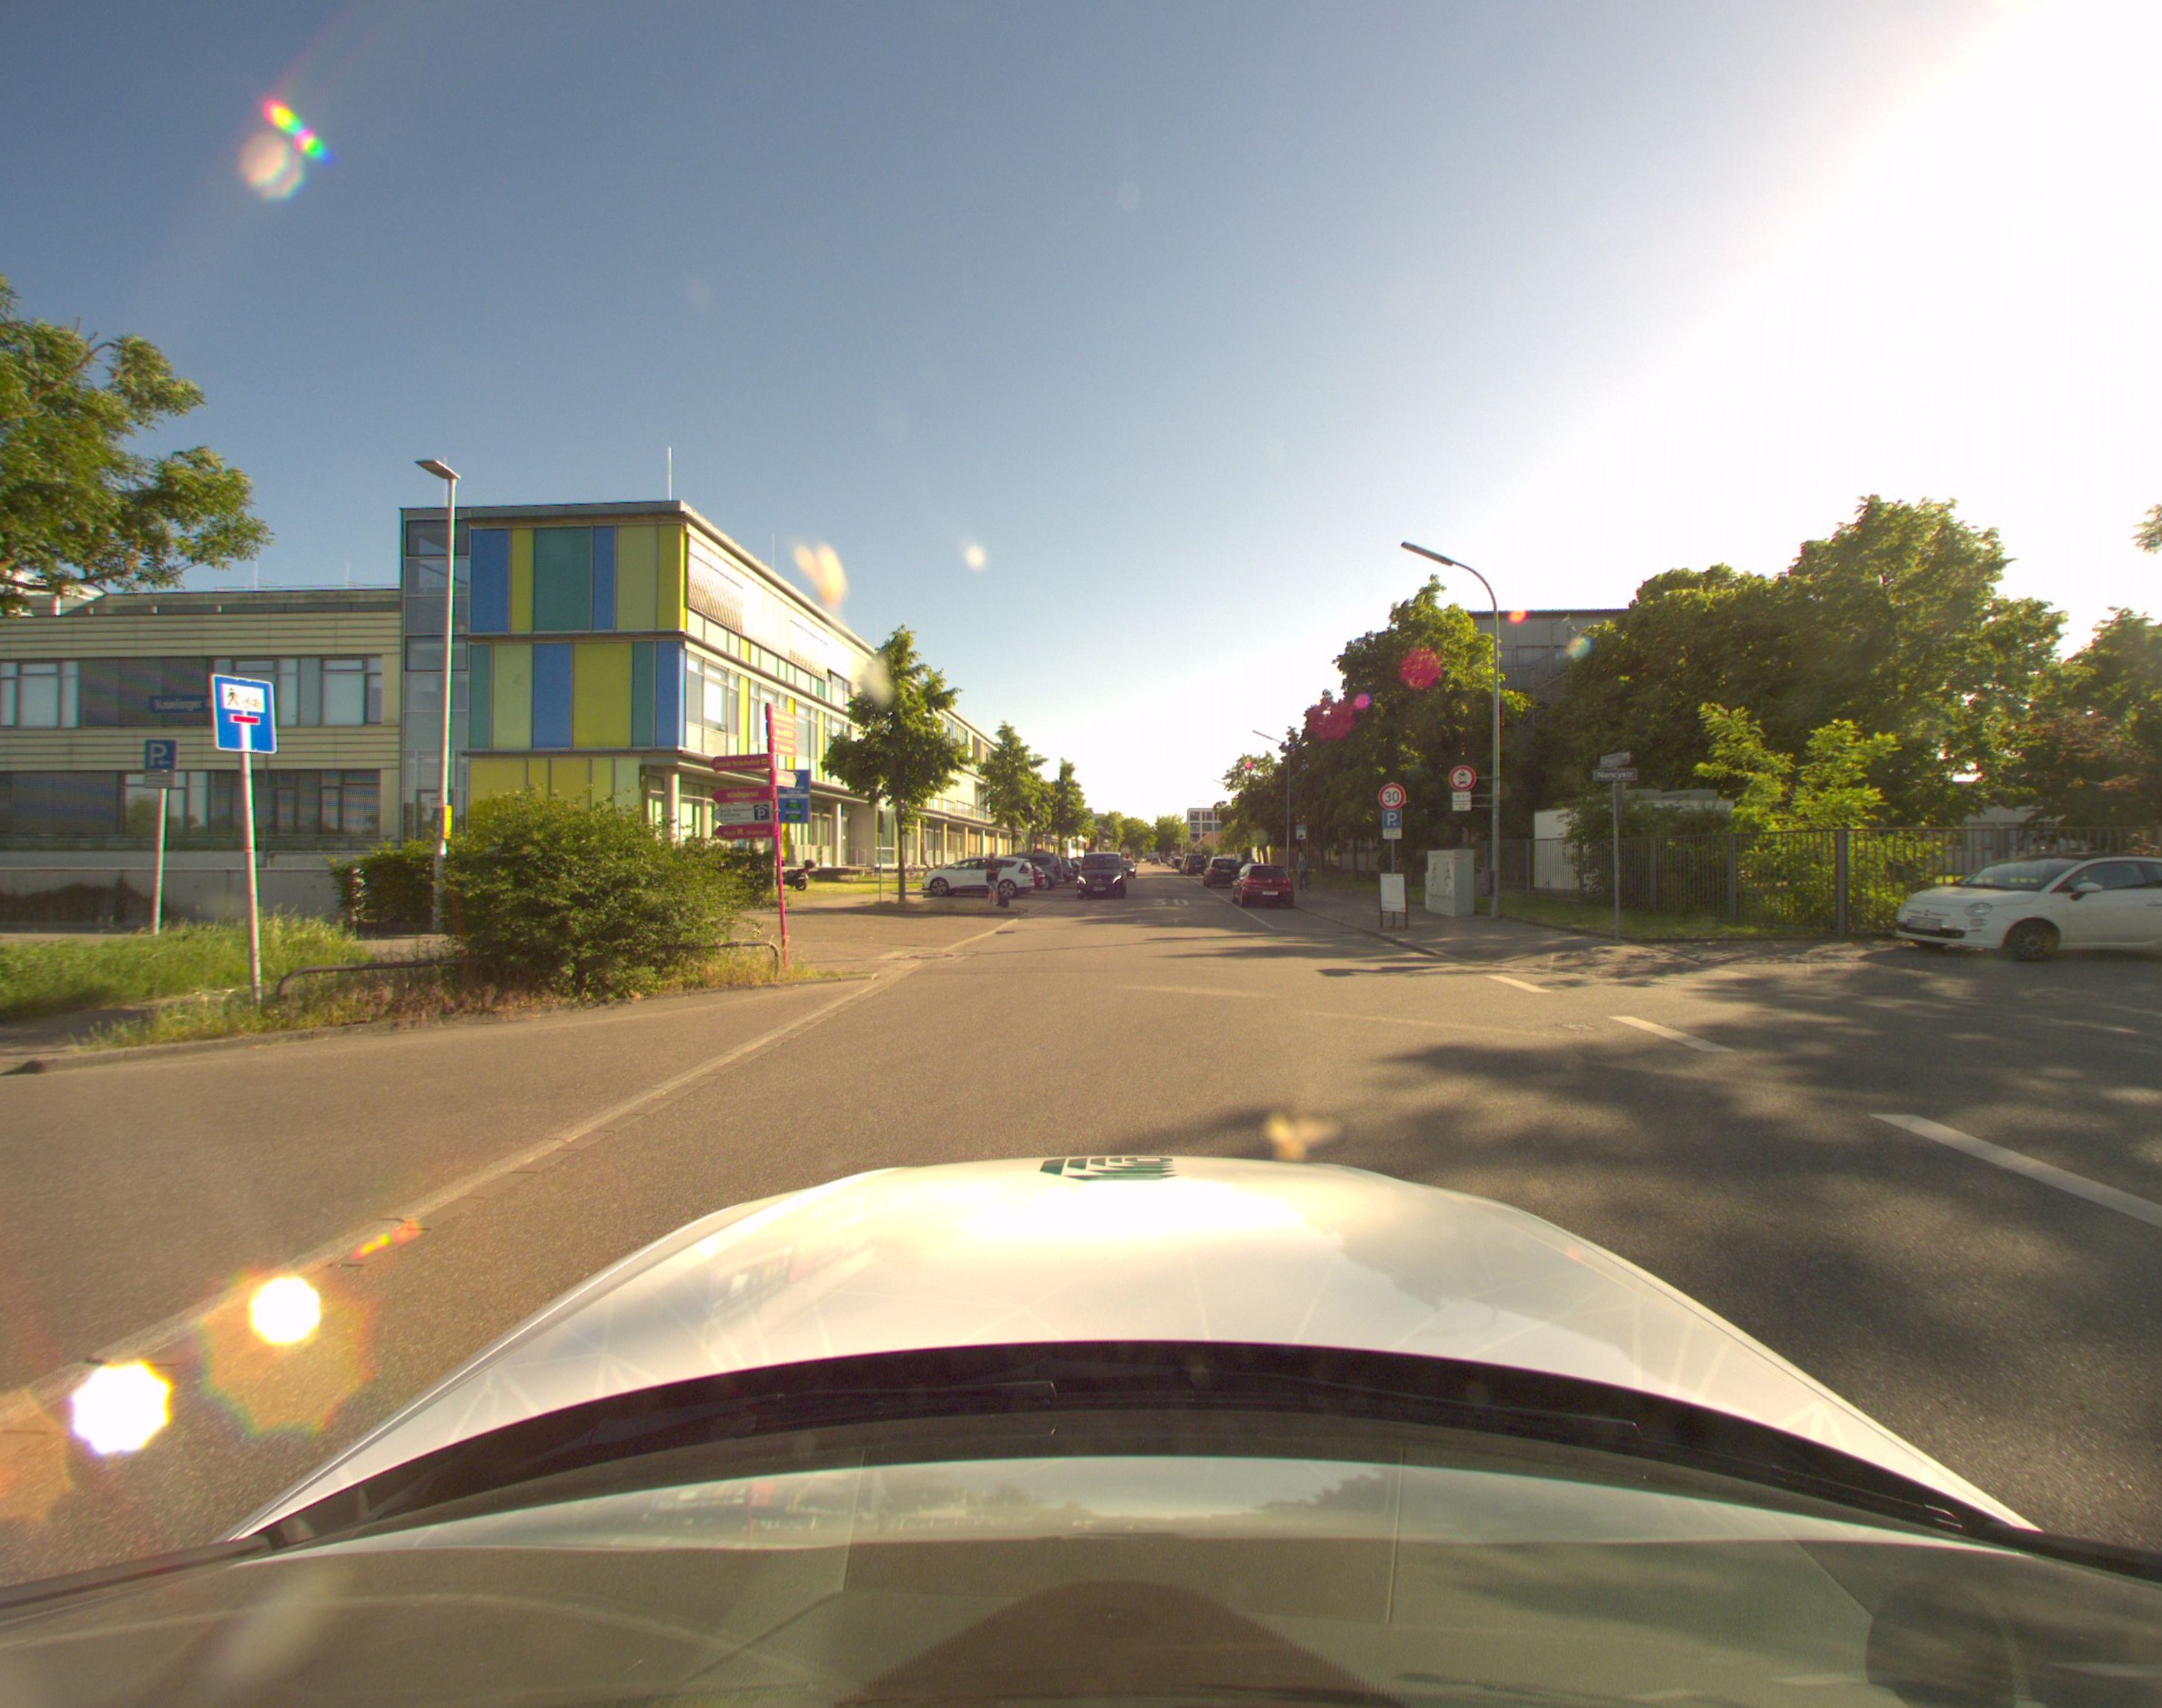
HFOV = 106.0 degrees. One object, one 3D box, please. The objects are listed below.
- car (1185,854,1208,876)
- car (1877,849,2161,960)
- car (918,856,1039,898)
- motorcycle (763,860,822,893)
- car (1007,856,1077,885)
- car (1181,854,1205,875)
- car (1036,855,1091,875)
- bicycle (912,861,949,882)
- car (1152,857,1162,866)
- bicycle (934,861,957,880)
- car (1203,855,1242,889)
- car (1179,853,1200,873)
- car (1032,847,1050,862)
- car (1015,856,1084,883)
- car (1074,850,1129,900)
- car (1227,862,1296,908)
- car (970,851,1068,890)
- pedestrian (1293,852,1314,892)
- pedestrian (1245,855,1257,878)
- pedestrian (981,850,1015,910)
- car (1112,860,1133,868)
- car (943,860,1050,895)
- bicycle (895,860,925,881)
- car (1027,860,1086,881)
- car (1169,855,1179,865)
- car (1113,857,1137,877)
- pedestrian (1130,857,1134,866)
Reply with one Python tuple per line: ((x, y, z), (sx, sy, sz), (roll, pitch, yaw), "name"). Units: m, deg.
((9.871, 0.948, 69.648), (1.724, 1.830, 3.911), (0, 0, 5), "car")
((14.106, 0.678, 11.754), (3.529, 1.486, 1.603), (0, 0, 5), "car")
((-4.154, 0.928, 33.438), (4.586, 1.651, 1.872), (0, -1, 8), "car")
((-11.046, 0.846, 31.180), (2.035, 1.149, 0.499), (2, 0, 2), "motorcycle")
((-2.283, 0.988, 48.634), (3.973, 1.607, 1.872), (1, 0, 1), "car")
((10.409, 0.943, 75.875), (1.984, 1.823, 4.204), (-1, 0, 5), "car")
((-1.362, 0.886, 64.386), (4.199, 1.462, 1.872), (1, 0, 1), "car")
((-8.655, 1.022, 46.936), (0.861, 1.153, 2.386), (1, -1, 26), "bicycle")
((14.016, 1.364, 150.698), (1.735, 1.543, 4.005), (0, 0, 5), "car")
((-8.434, 1.011, 50.725), (0.887, 1.111, 1.894), (1, 1, 8), "bicycle")
((7.725, 0.943, 44.745), (1.803, 1.666, 4.600), (1, 1, 6), "car")
((10.905, 0.876, 82.111), (1.866, 1.978, 4.005), (-1, 0, 5), "car")
((-5.606, 0.092, 113.703), (1.984, 2.014, 4.005), (0, -2, 5), "car")
((-1.952, 0.966, 51.576), (4.231, 1.612, 2.048), (1, 0, 1), "car")
((0.943, 0.838, 34.405), (1.946, 1.867, 5.261), (-2, 0, 5), "car")
((6.284, 1.025, 28.746), (1.712, 1.455, 4.657), (1, 0, 4), "car")
((-3.116, 0.824, 41.675), (4.720, 1.865, 1.830), (1, 0, 5), "car")
((9.991, 0.802, 36.554), (0.714, 1.758, 0.886), (-2, 0, 5), "pedestrian")
((12.610, 0.893, 60.409), (0.695, 1.661, 0.752), (-3, -1, 4), "pedestrian")
((-2.632, 0.810, 25.927), (0.853, 1.842, 0.827), (2, 0, 6), "pedestrian")
((8.085, 1.913, 157.666), (3.968, 1.519, 2.003), (0, -2, 5), "car")
((-3.704, 1.016, 36.047), (4.413, 1.501, 1.830), (0, -1, 5), "car")
((-9.969, 0.952, 47.624), (0.863, 1.153, 2.000), (1, -1, 14), "bicycle")
((-1.695, 1.133, 57.418), (3.973, 1.358, 1.743), (1, 0, 1), "car")
((14.930, 0.951, 130.643), (1.429, 1.560, 3.046), (0, 0, 5), "car")
((3.463, 1.014, 63.403), (1.695, 1.451, 4.092), (-1, -1, 5), "car")
((9.096, 1.337, 146.016), (0.616, 1.624, 0.717), (-1, -1, 4), "pedestrian")
